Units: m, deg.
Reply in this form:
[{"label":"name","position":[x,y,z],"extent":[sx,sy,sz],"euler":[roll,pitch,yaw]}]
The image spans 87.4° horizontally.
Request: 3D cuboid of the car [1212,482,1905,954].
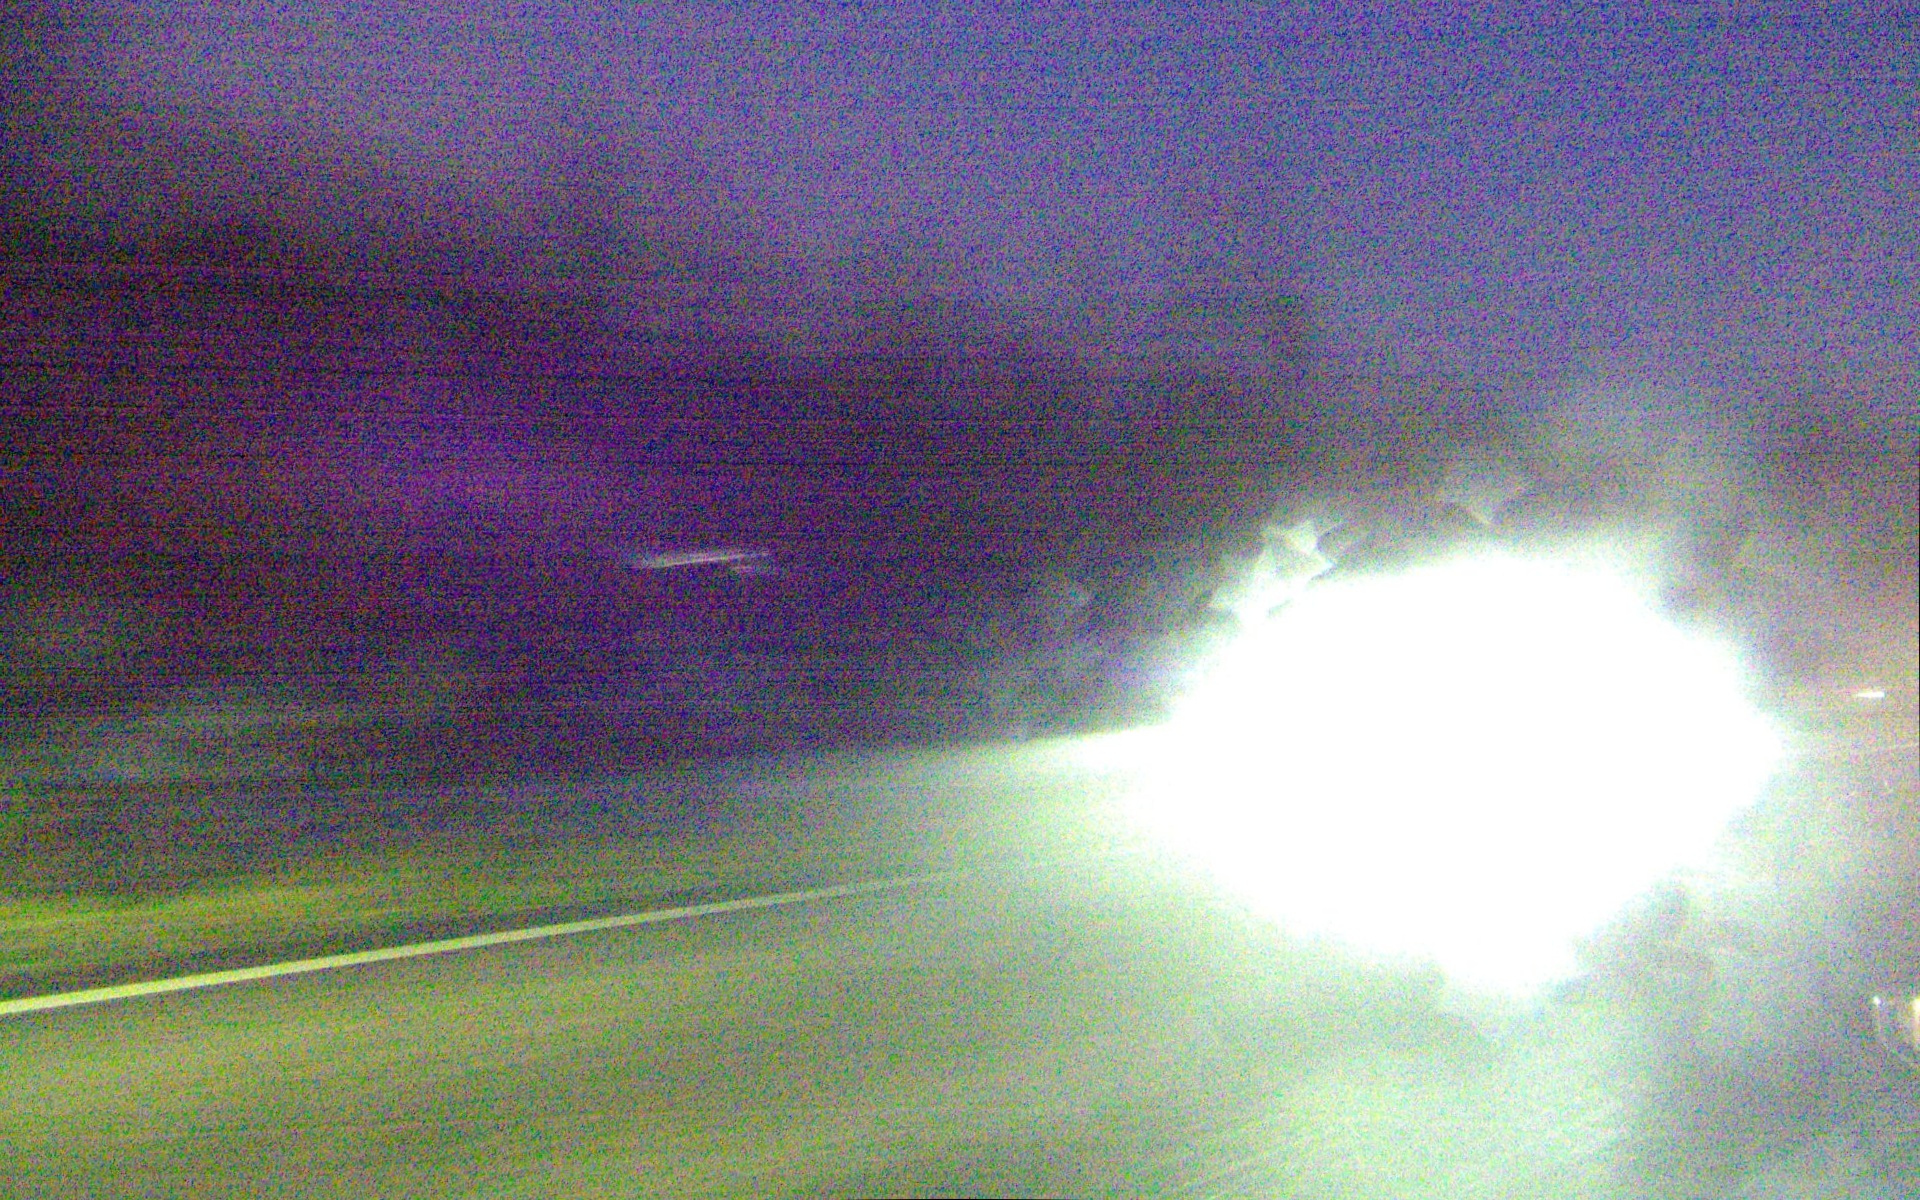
[{"label":"car","position":[3.738,0.552,6.202],"extent":[3.953,2.040,1.984],"euler":[2,0,-30]}]
